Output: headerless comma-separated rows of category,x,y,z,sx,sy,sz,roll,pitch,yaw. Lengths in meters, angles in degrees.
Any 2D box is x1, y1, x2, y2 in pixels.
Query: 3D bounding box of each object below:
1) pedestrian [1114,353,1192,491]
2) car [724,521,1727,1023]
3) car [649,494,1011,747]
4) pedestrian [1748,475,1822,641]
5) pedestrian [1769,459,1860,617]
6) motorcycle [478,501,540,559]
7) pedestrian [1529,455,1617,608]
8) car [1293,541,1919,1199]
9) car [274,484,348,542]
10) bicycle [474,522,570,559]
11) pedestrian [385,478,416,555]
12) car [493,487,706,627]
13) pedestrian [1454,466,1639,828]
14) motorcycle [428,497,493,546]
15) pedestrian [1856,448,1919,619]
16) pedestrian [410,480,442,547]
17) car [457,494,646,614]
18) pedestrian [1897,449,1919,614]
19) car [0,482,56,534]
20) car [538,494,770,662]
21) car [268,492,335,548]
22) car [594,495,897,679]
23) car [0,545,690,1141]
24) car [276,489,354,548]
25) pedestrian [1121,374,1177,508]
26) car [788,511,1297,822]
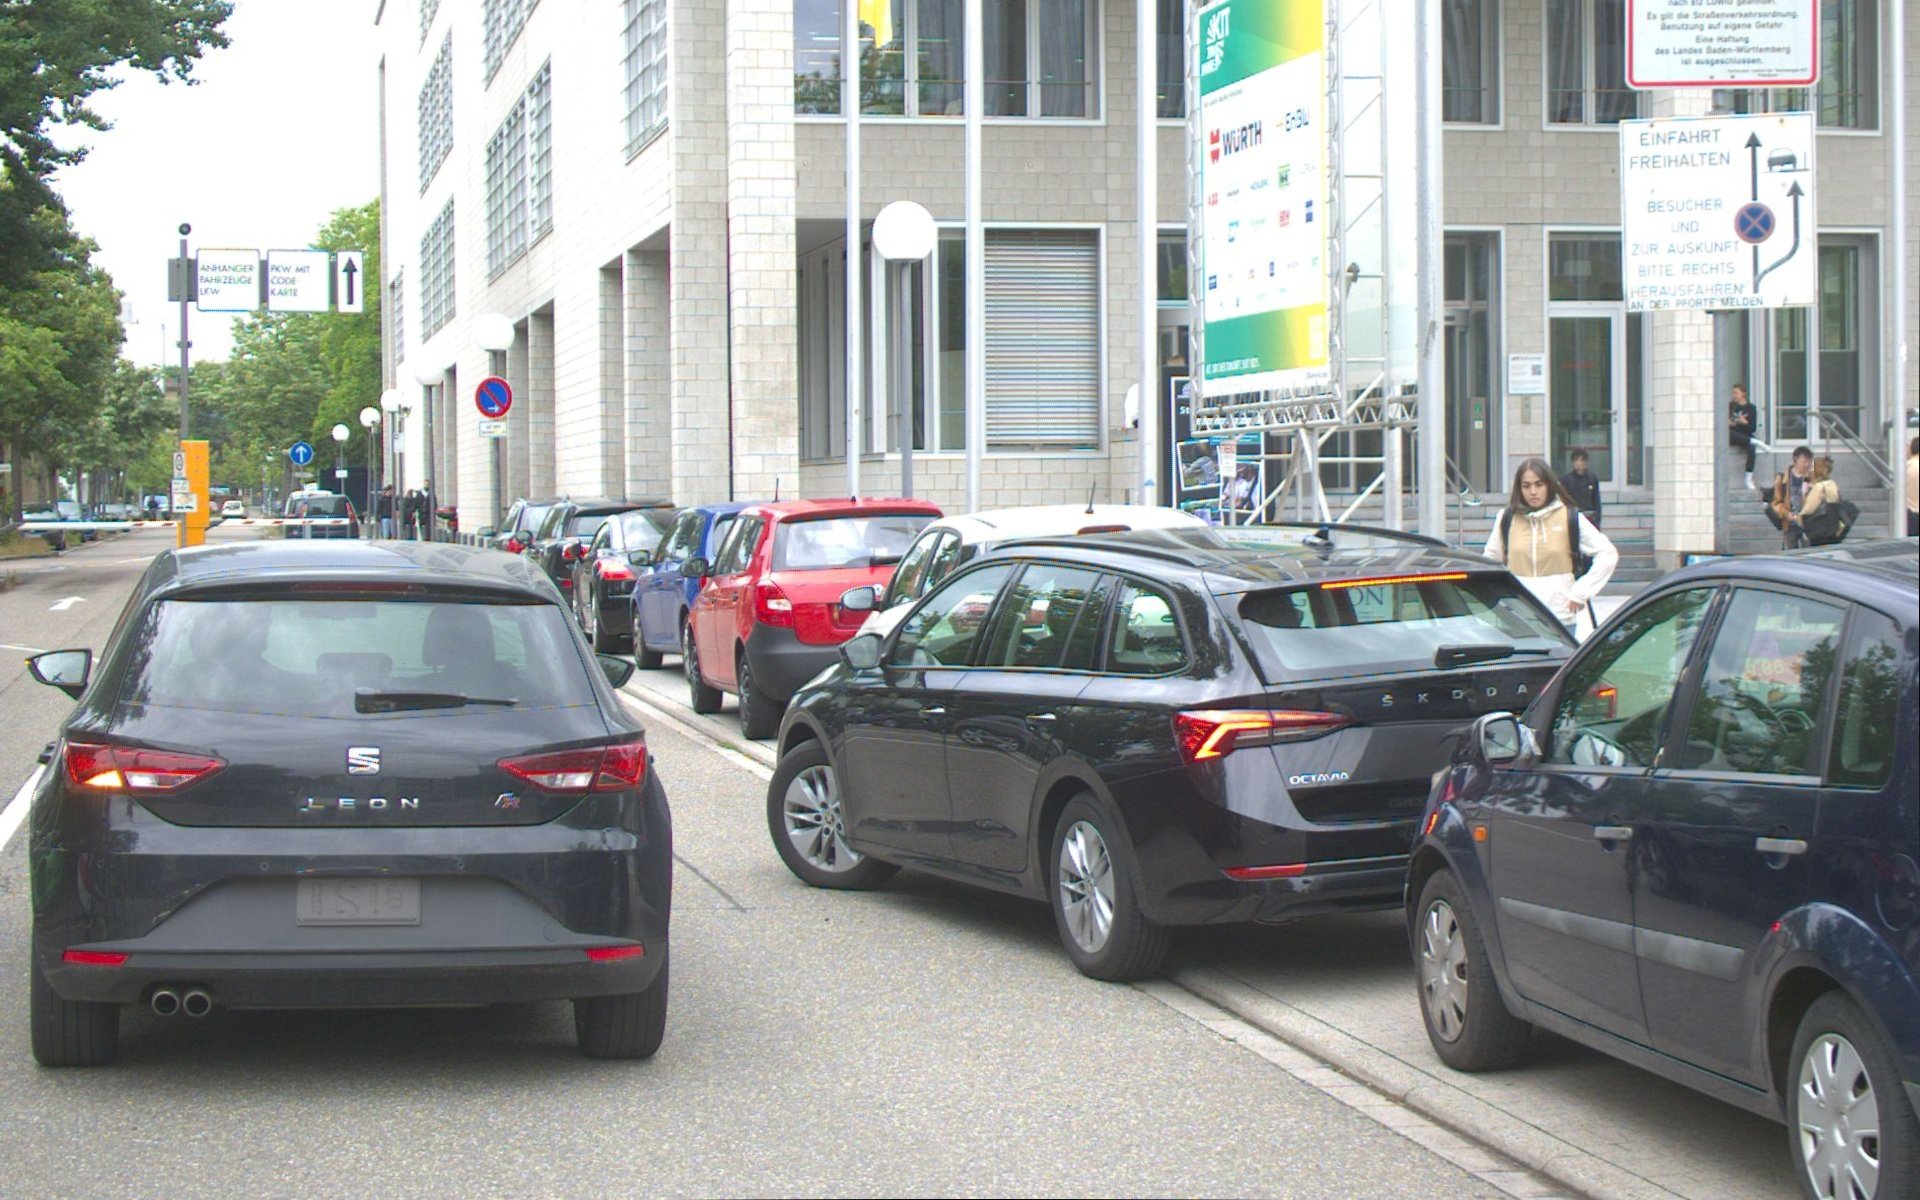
pedestrian,2.375,-2.192,42.279,0.805,1.653,0.631,2,4,13
car,0.737,0.462,12.750,1.860,1.397,4.480,-3,3,-22
car,-0.989,0.057,23.472,1.712,1.468,4.275,-3,3,-12
pedestrian,9.226,-0.470,38.454,0.590,1.834,0.620,0,1,-11
pedestrian,9.329,-0.676,37.560,0.776,1.709,0.604,0,1,-11
motorcycle,-9.631,-1.504,73.423,0.566,1.144,2.216,2,4,13
pedestrian,6.766,-0.760,37.963,0.755,1.664,0.705,0,1,-11
car,2.200,0.646,8.306,1.621,1.496,4.107,-2,2,-11
car,-19.286,-2.592,102.047,1.993,1.617,4.430,-2,2,-12
bicycle,-8.958,-1.221,70.323,1.896,0.696,0.493,0,4,-15
pedestrian,-12.431,-1.859,76.412,0.611,1.708,0.575,-1,2,-6
car,-4.135,-0.532,38.883,1.817,1.438,4.522,-2,2,-13
pedestrian,2.945,0.222,17.336,0.791,1.781,0.821,0,1,0
motorcycle,-13.016,-2.051,89.661,0.760,1.144,2.662,2,4,13
pedestrian,9.974,-0.703,36.152,0.762,1.779,0.737,-1,1,-25
pedestrian,-13.930,-2.259,89.650,0.727,1.693,0.588,0,4,-17
car,-5.363,-0.629,44.590,1.993,1.447,4.924,-1,2,-12
pedestrian,10.689,-0.743,37.263,0.719,1.779,0.737,-1,1,-25
car,-29.272,-2.889,107.620,1.769,1.595,4.002,0,2,-13
car,-3.103,-0.276,34.106,1.848,1.437,4.421,0,3,-11
car,-21.897,-2.687,114.231,1.993,1.776,4.430,-2,2,-12
car,-1.894,-0.158,29.066,1.694,1.406,4.378,-1,2,-15
car,-2.031,0.579,10.772,1.782,1.414,4.131,0,2,-13
car,-18.346,-2.306,97.620,1.993,1.617,4.429,-1,1,-13
pedestrian,2.378,-2.006,43.219,0.629,1.653,0.807,2,4,4
car,0.313,0.263,18.283,1.860,1.448,3.860,0,2,-12
